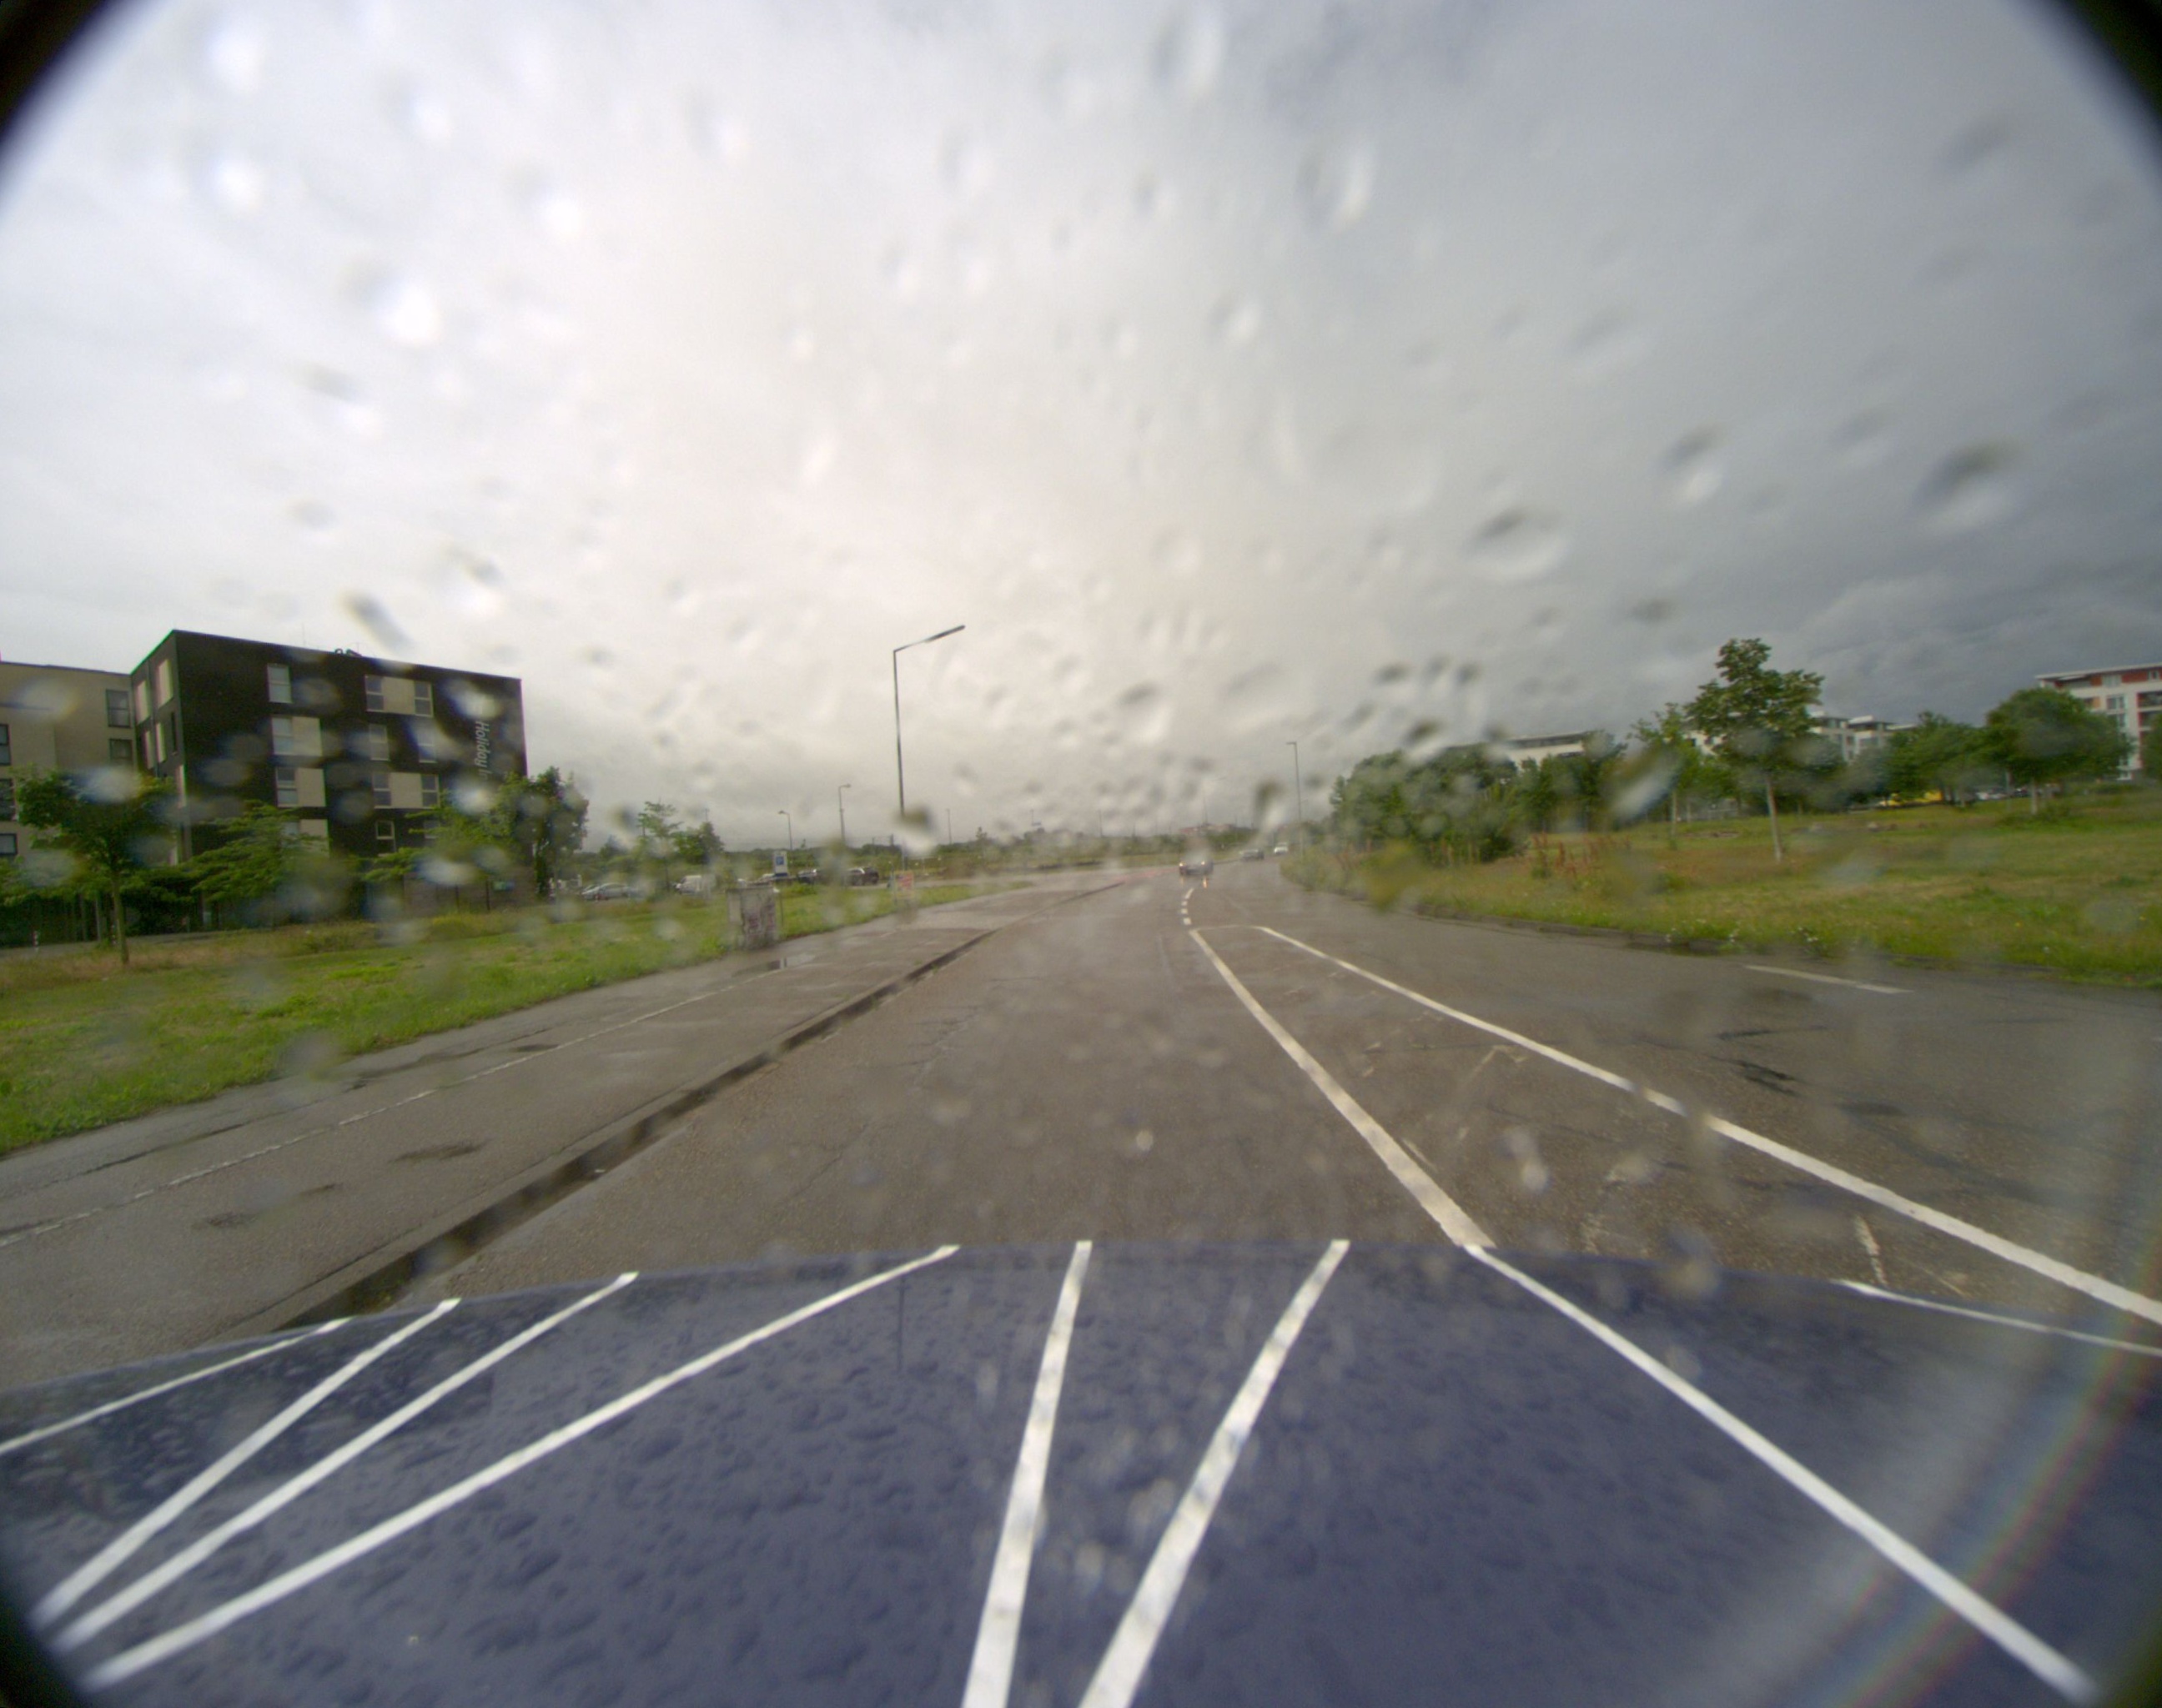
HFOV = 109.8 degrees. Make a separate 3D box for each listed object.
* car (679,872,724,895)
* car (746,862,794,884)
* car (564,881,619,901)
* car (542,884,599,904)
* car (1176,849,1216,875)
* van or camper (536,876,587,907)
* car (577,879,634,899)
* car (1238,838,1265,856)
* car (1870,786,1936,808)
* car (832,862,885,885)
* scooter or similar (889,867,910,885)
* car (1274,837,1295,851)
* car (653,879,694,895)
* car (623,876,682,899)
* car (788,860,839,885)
[{"bbox_3d":[-39.069,3.017,78.193,4.329,1.761,2.003,-9,-3,33],"label":"car"},{"bbox_3d":[-29.341,1.815,71.638,3.991,1.631,2.003,-7,-1,28],"label":"car"},{"bbox_3d":[-44.377,3.341,68.931,1.640,1.388,3.787,-6,0,32],"label":"car"},{"bbox_3d":[-46.955,3.665,69.957,1.782,1.387,3.849,-7,-2,31],"label":"car"},{"bbox_3d":[7.581,0.517,49.834,1.871,1.510,4.362,-2,1,18],"label":"car"},{"bbox_3d":[-64.758,4.671,94.654,6.785,3.182,2.534,-7,-1,32],"label":"van or camper"},{"bbox_3d":[-42.445,3.090,67.836,1.764,1.387,3.814,-7,-2,31],"label":"car"},{"bbox_3d":[17.254,-0.741,76.878,2.007,1.695,4.334,-4,0,21],"label":"car"},{"bbox_3d":[127.319,-8.806,117.768,6.626,2.598,1.969,-6,0,25],"label":"car"},{"bbox_3d":[-19.169,1.671,65.549,3.990,1.609,2.002,-3,3,28],"label":"car"},{"bbox_3d":[-12.060,1.468,50.497,1.283,1.180,0.503,-2,-1,2],"label":"scooter or similar"},{"bbox_3d":[26.574,-1.318,99.013,1.839,1.510,4.363,-4,0,24],"label":"car"},{"bbox_3d":[-43.413,3.540,80.965,3.990,1.406,2.003,-5,0,32],"label":"car"},{"bbox_3d":[-36.106,2.782,64.077,1.782,1.518,3.849,-7,-2,31],"label":"car"},{"bbox_3d":[-24.239,1.681,68.896,3.991,1.717,2.003,-7,-1,28],"label":"car"}]
